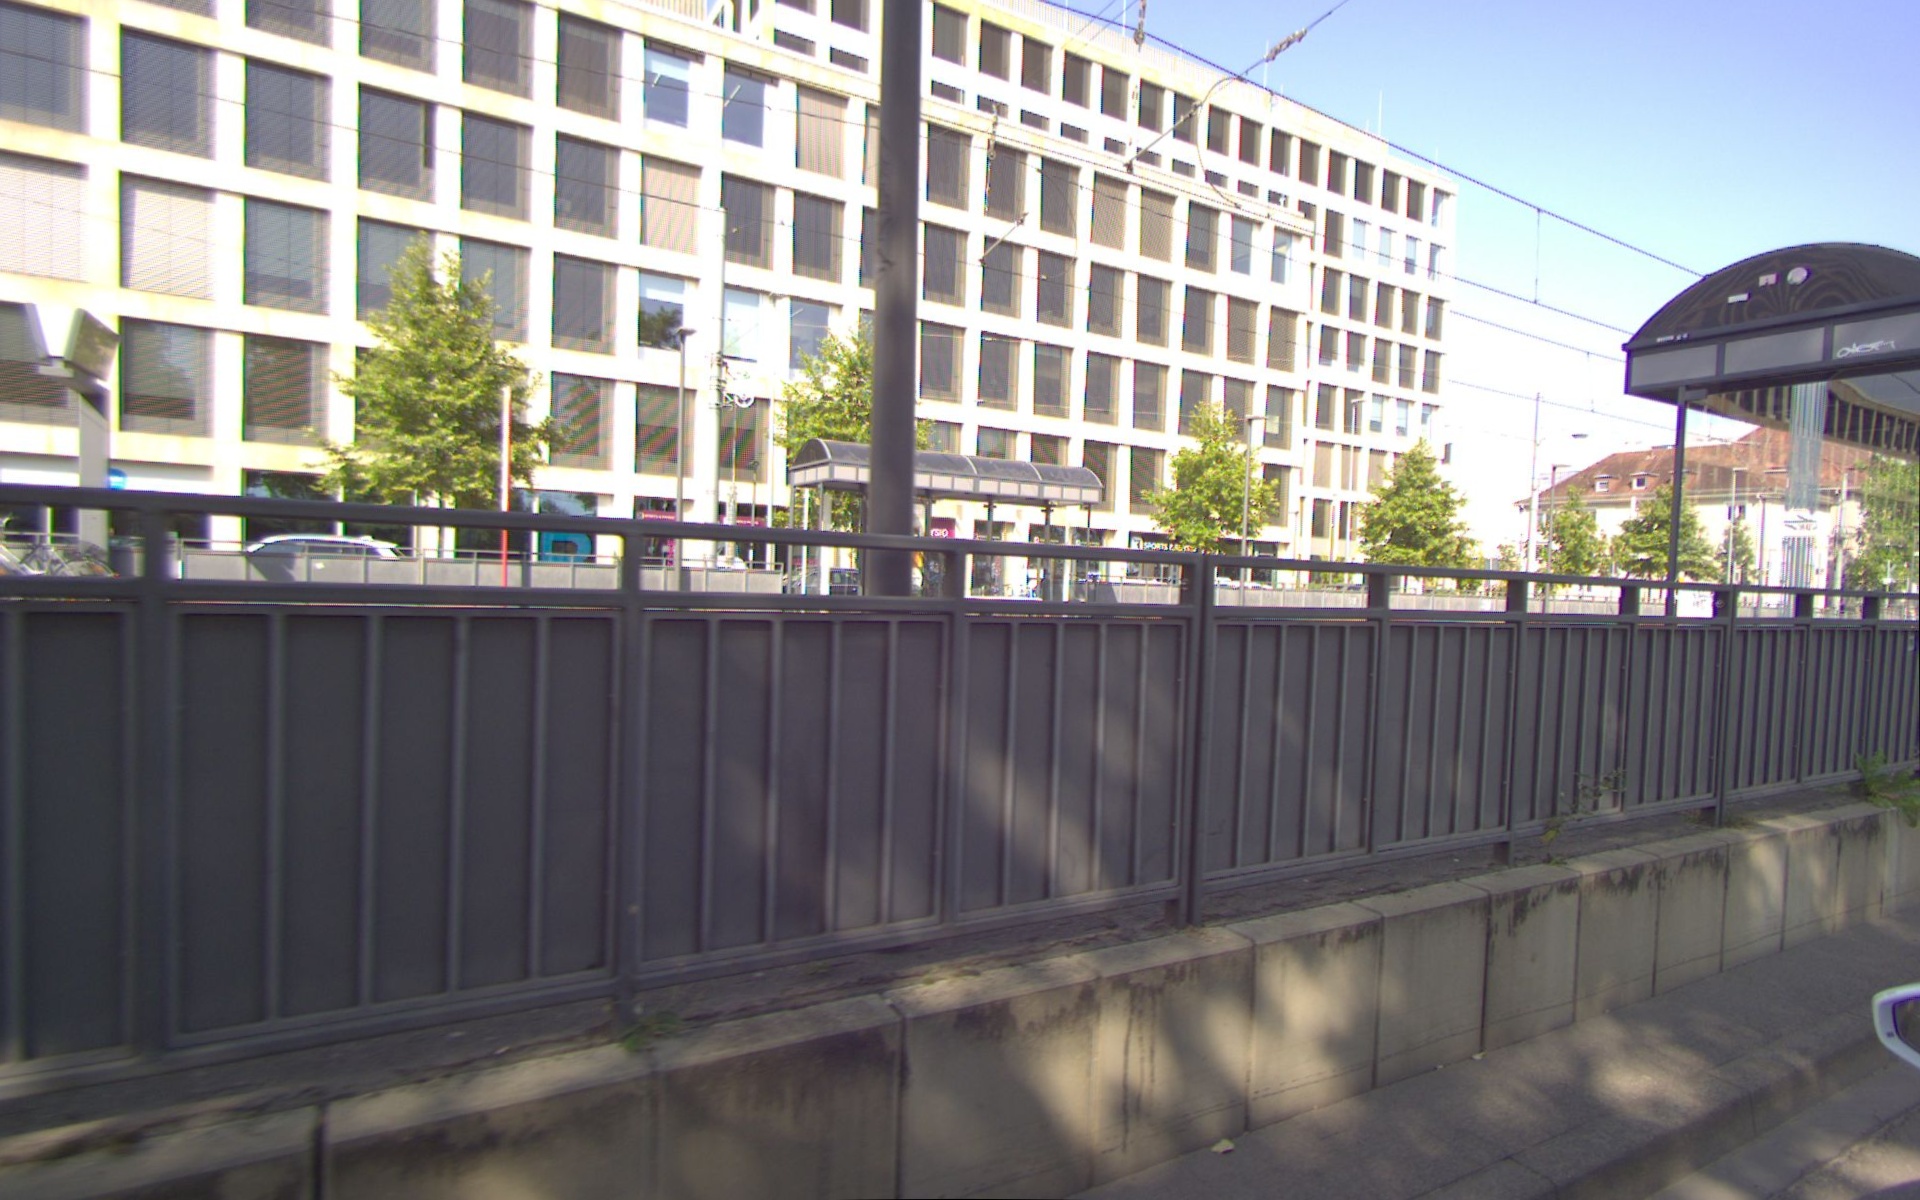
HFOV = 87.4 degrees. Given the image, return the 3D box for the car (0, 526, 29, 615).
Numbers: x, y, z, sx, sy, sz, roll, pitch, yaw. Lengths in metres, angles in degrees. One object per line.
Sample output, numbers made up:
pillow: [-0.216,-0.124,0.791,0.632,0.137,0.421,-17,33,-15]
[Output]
car: [-19.316,-0.583,17.615,4.086,1.595,1.754,1,1,-32]

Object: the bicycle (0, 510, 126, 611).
bicycle: [-11.210,-0.484,12.287,1.459,1.163,0.471,2,2,-16]

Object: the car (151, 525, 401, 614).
car: [-13.894,-0.576,20.692,4.086,1.624,1.754,1,1,-32]

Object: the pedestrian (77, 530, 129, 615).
pedestrian: [-21.225,-0.672,24.890,0.813,2.040,0.560,2,-2,-30]

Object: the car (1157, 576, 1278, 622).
car: [8.712,-0.020,33.934,3.963,1.465,1.701,1,1,-32]

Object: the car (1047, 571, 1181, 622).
car: [4.819,-0.085,31.283,3.963,1.465,1.701,1,1,-32]
